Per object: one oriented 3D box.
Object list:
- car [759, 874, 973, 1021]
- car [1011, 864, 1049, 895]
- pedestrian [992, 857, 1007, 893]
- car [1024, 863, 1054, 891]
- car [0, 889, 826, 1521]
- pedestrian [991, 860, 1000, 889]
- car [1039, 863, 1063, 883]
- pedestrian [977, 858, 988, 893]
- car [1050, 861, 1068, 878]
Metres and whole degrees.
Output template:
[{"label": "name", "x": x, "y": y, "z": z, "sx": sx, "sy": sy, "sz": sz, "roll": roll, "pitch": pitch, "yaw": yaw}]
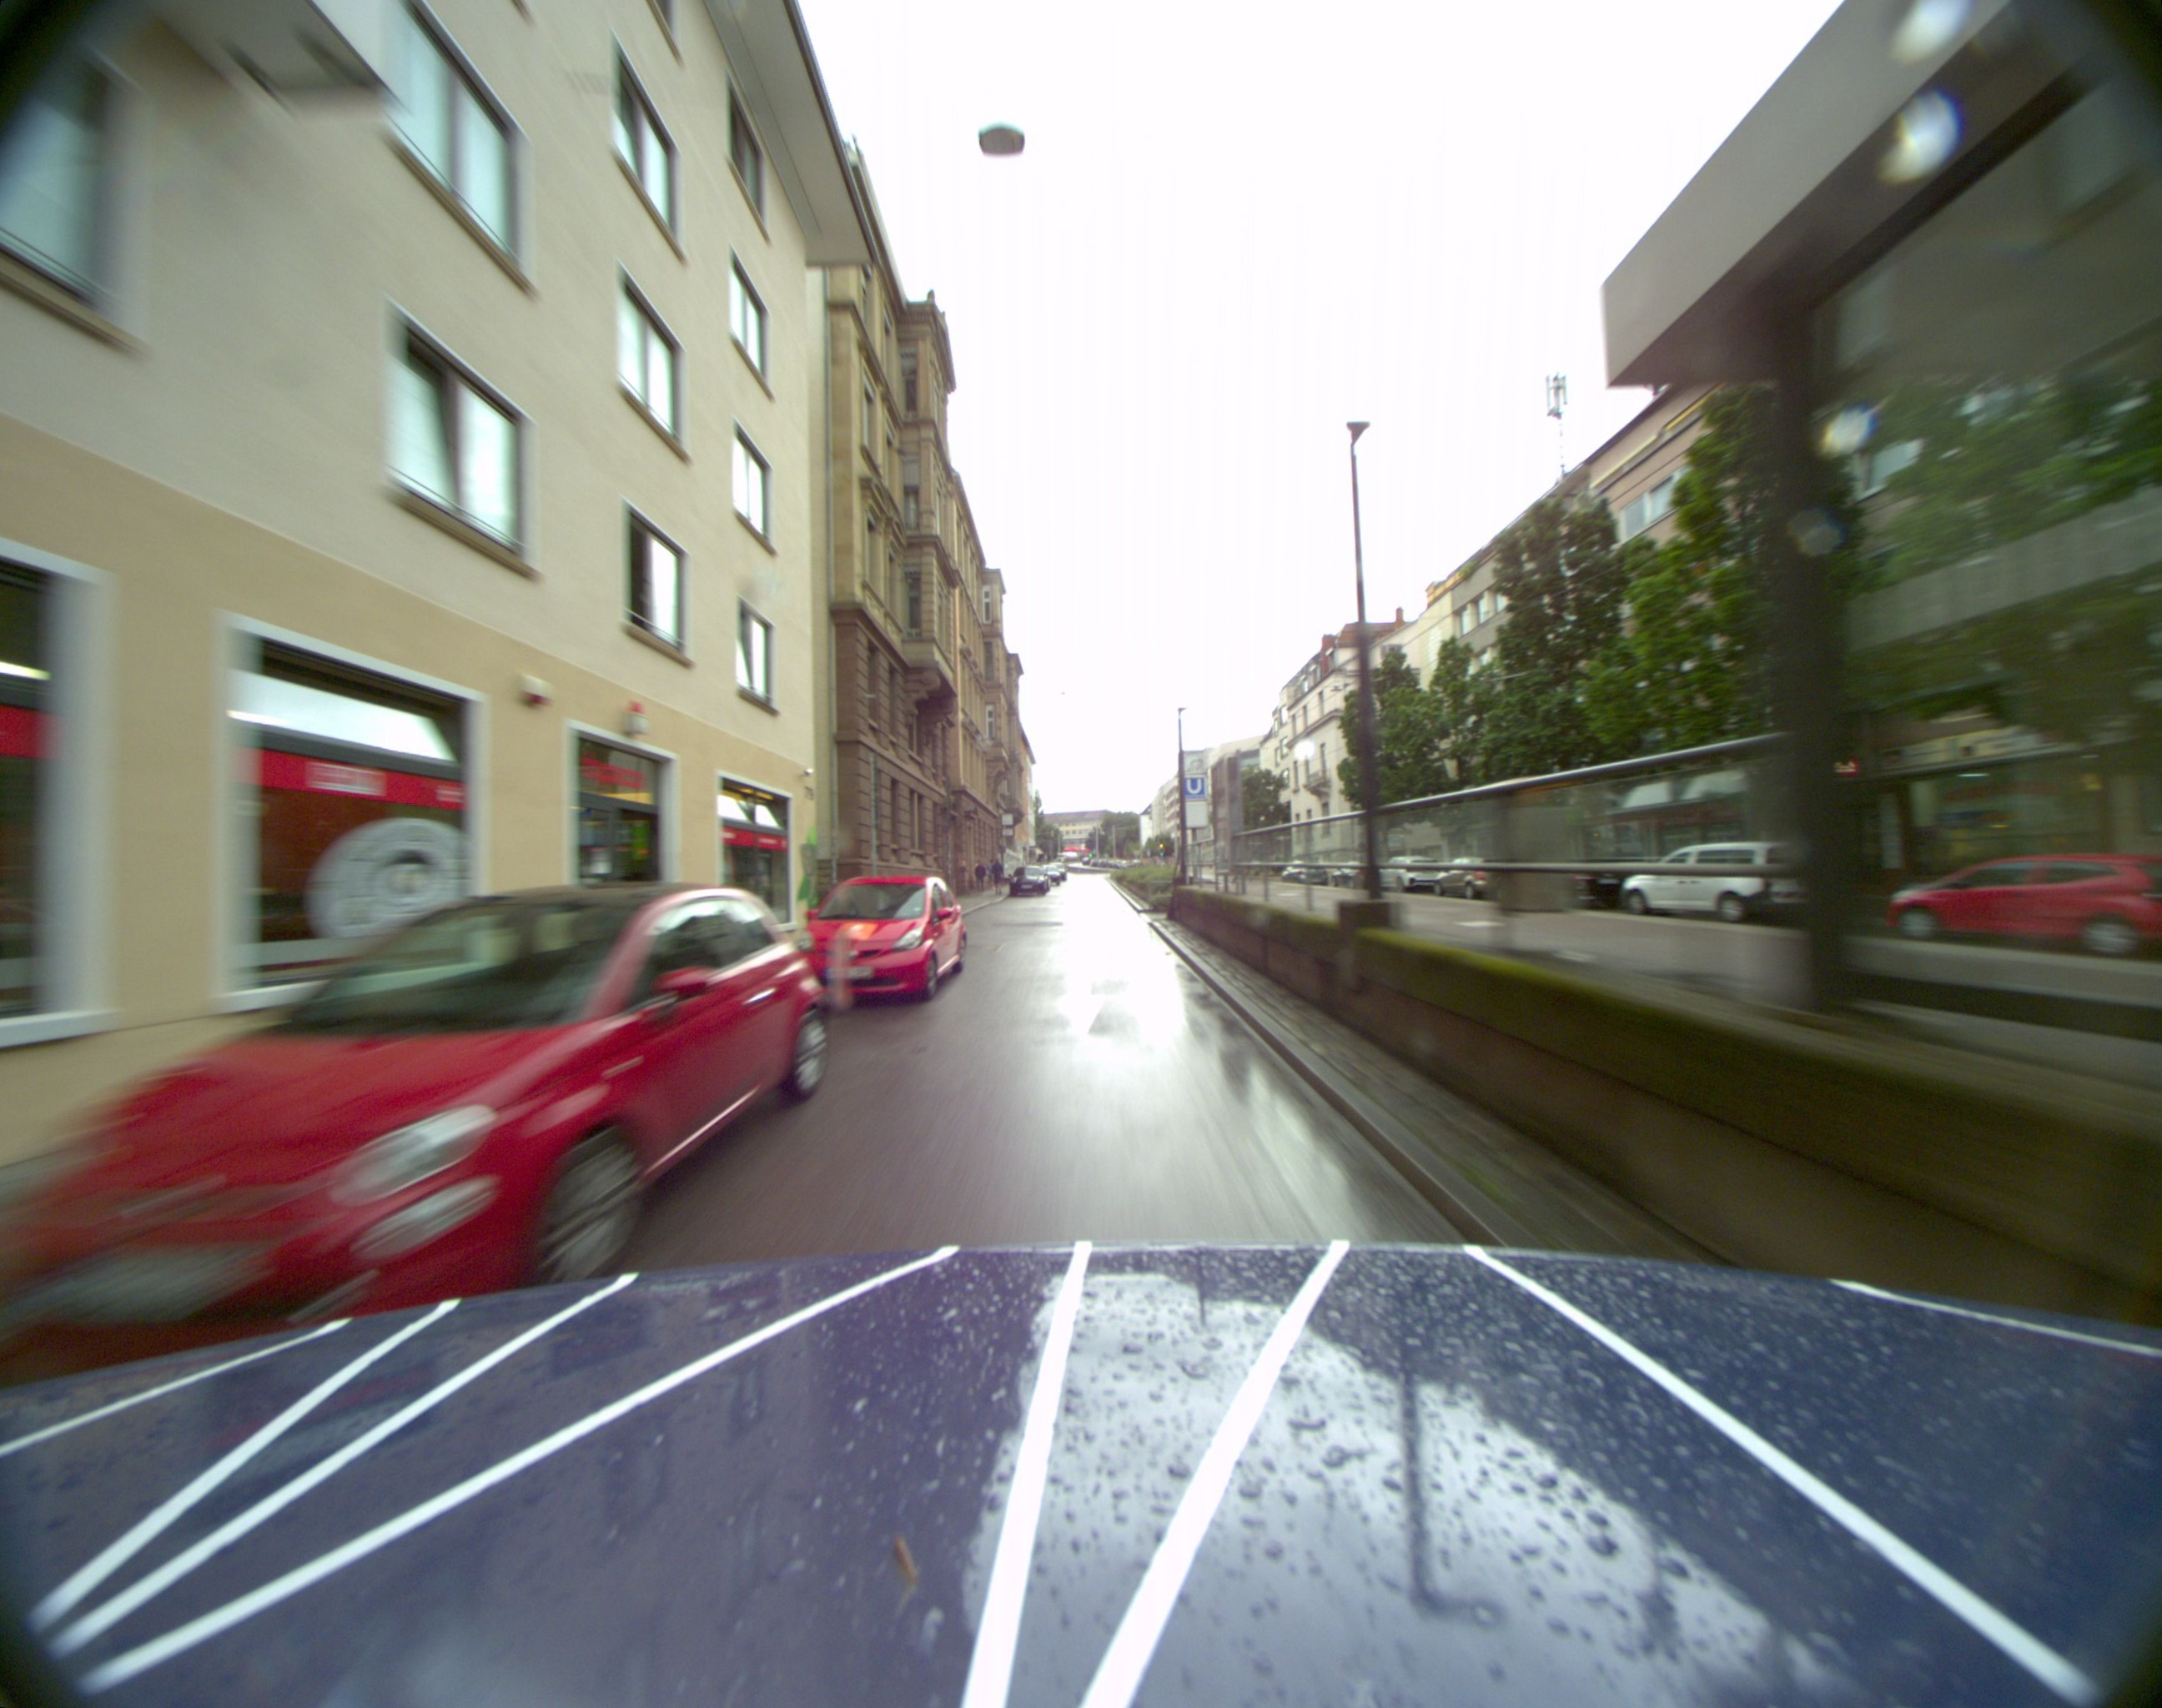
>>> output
[{"label": "car", "x": -2.547, "y": 1.045, "z": 9.855, "sx": 1.720, "sy": 1.453, "sz": 3.445, "roll": -1, "pitch": 0, "yaw": 1}, {"label": "car", "x": -2.456, "y": 1.216, "z": 37.377, "sx": 1.628, "sy": 1.343, "sz": 3.829, "roll": -1, "pitch": 0, "yaw": -1}, {"label": "pedestrian", "x": -3.937, "y": 1.007, "z": 36.727, "sx": 0.653, "sy": 1.752, "sz": 0.882, "roll": -1, "pitch": 1, "yaw": -4}, {"label": "car", "x": -2.361, "y": 1.280, "z": 43.364, "sx": 1.588, "sy": 1.405, "sz": 3.829, "roll": -1, "pitch": 0, "yaw": -1}, {"label": "car", "x": -2.659, "y": 0.987, "z": 3.652, "sx": 1.649, "sy": 1.453, "sz": 3.414, "roll": -1, "pitch": 0, "yaw": 1}, {"label": "pedestrian", "x": -4.889, "y": 1.168, "z": 43.452, "sx": 0.485, "sy": 1.635, "sz": 0.464, "roll": -1, "pitch": 1, "yaw": -4}, {"label": "car", "x": -2.130, "y": 1.331, "z": 54.649, "sx": 1.588, "sy": 1.343, "sz": 3.977, "roll": -1, "pitch": 0, "yaw": -1}, {"label": "pedestrian", "x": -4.719, "y": 1.031, "z": 36.383, "sx": 0.489, "sy": 1.635, "sz": 0.631, "roll": -1, "pitch": 1, "yaw": -4}, {"label": "car", "x": -1.994, "y": 1.377, "z": 69.641, "sx": 1.588, "sy": 1.442, "sz": 3.978, "roll": -1, "pitch": 0, "yaw": 0}]
